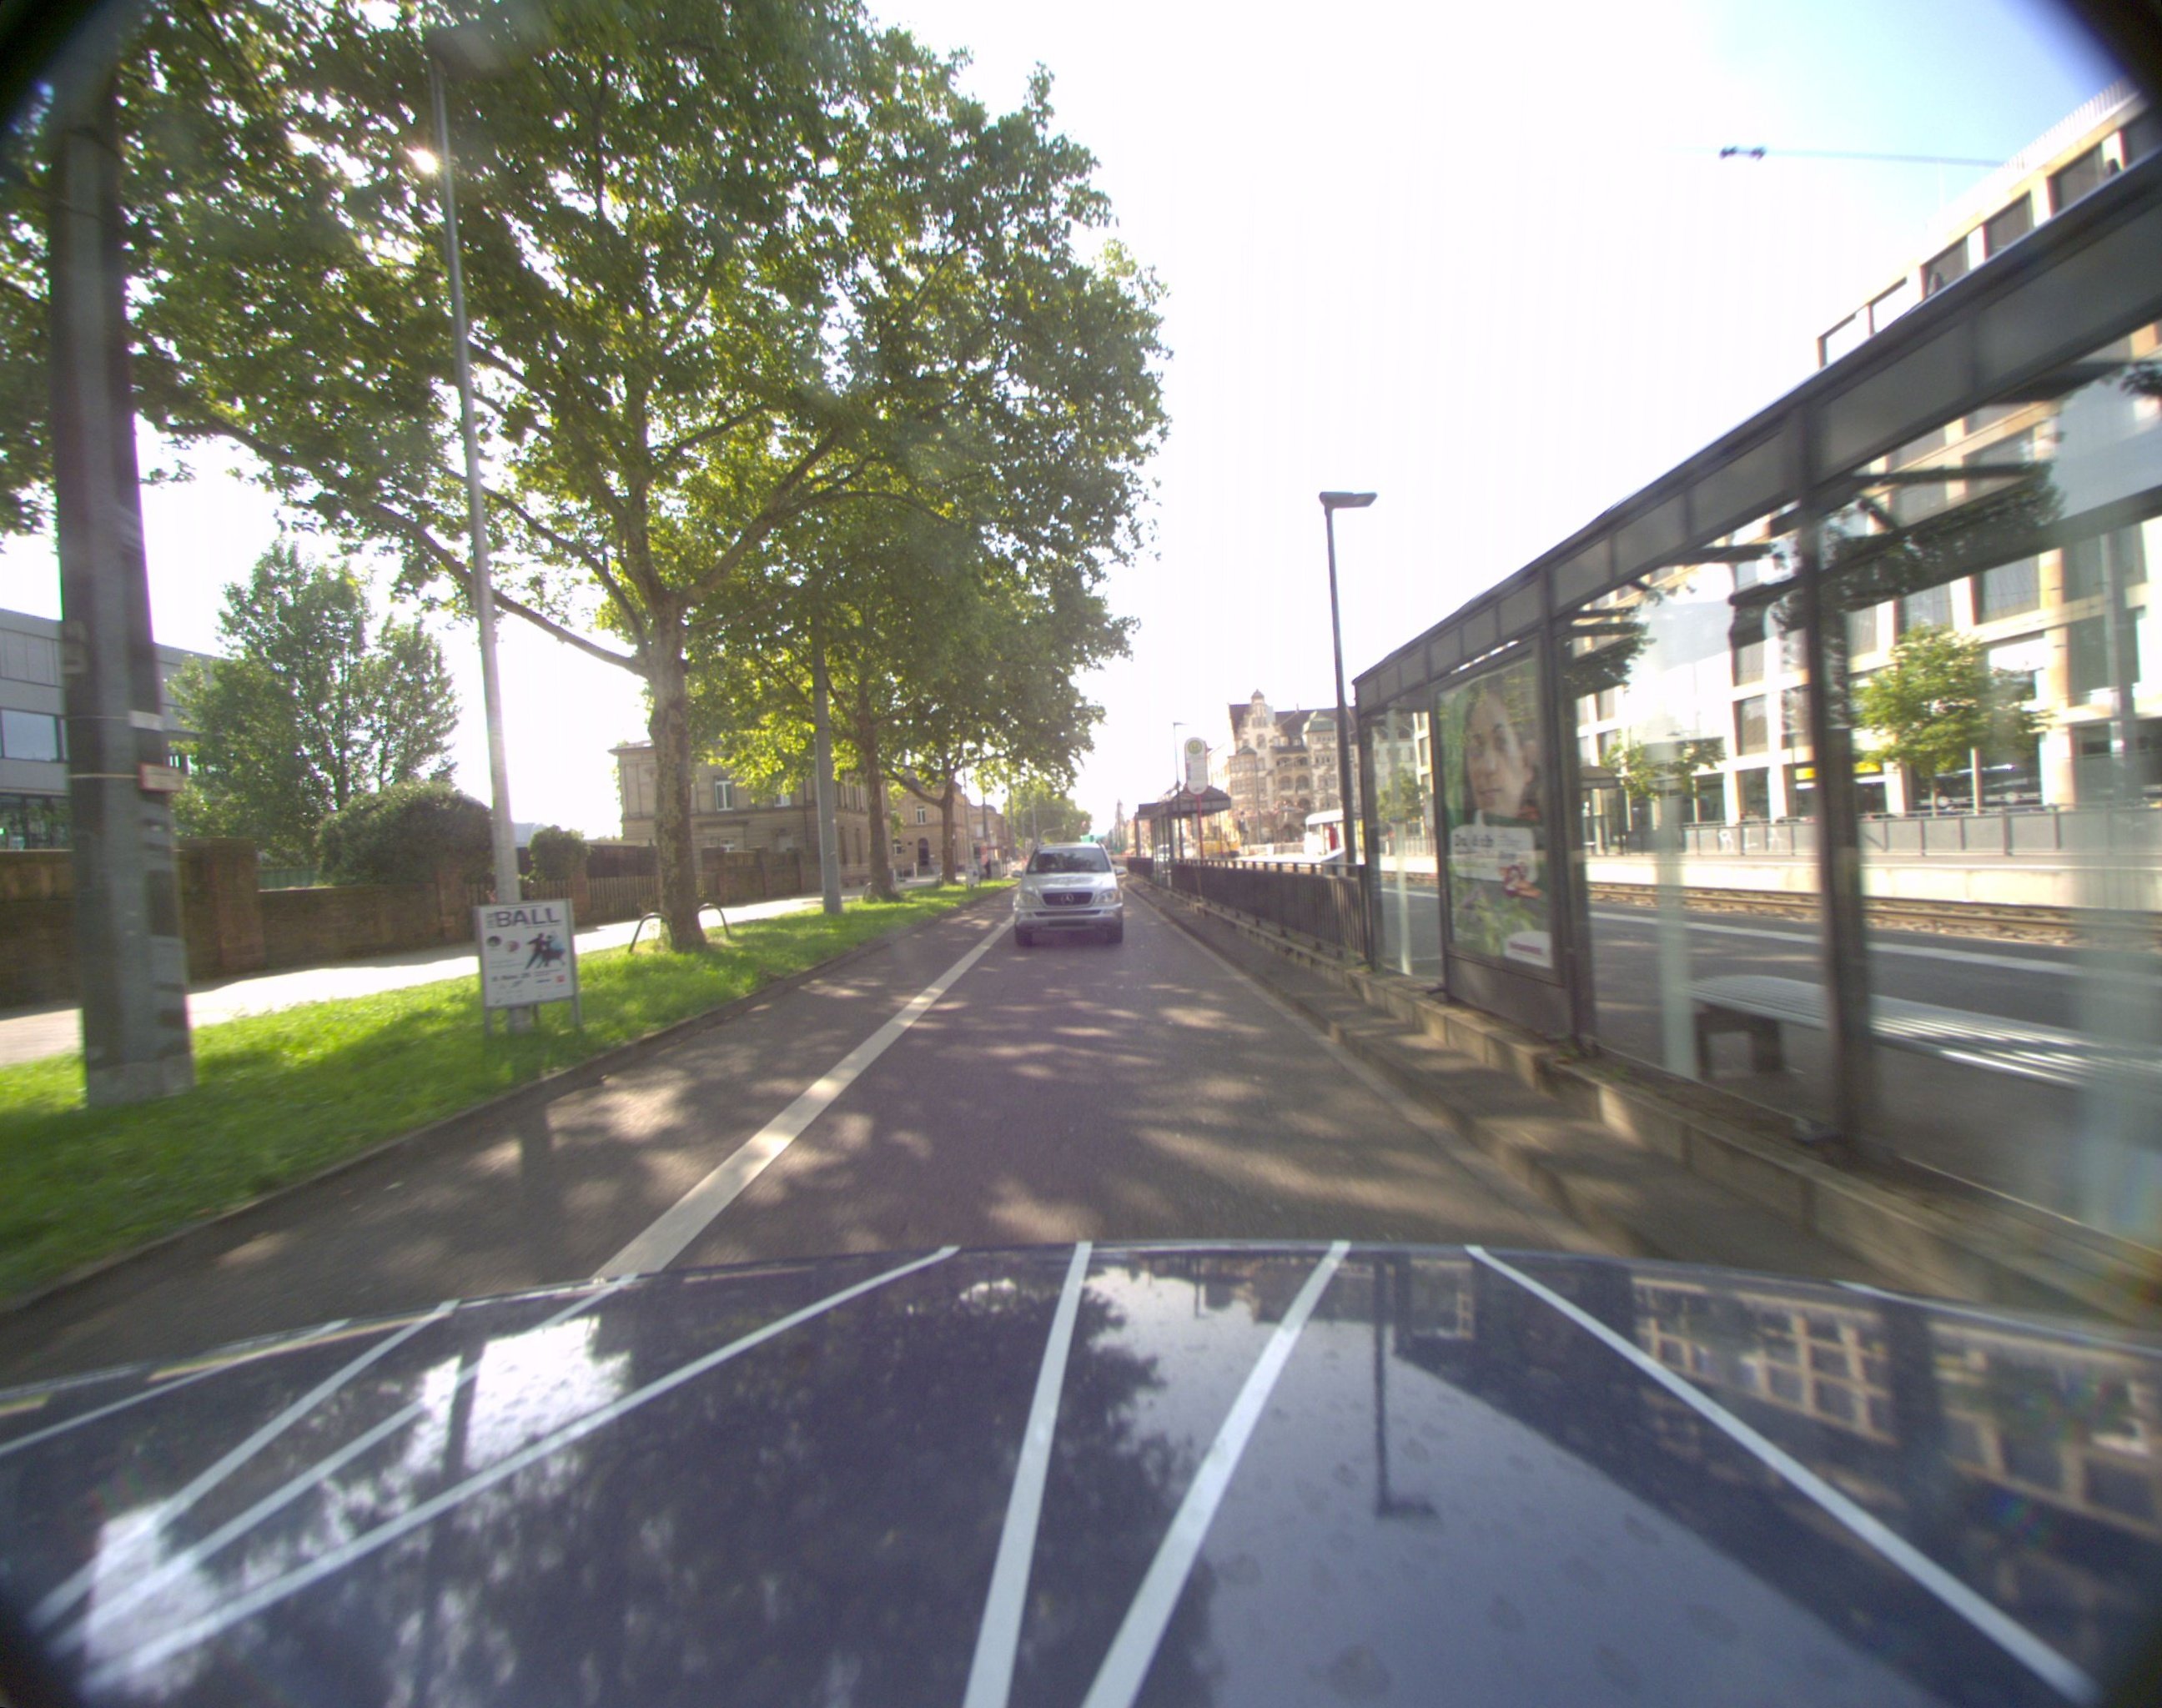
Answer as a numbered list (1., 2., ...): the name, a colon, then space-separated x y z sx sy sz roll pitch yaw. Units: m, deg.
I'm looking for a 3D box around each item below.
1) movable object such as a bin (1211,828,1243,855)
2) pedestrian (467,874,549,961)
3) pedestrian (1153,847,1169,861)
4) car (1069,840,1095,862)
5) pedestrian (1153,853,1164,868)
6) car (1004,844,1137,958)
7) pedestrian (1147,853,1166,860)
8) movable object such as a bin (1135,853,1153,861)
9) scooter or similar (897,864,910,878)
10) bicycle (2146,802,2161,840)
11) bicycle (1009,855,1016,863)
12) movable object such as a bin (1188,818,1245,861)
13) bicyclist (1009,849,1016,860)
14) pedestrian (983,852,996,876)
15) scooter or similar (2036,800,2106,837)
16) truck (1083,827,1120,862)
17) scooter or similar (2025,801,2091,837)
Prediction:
1. movable object such as a bin: 19.752 -1.622 103.007 2.853 3.310 8.346 -3 1 2
2. pedestrian: -11.912 1.299 15.830 0.821 1.676 1.012 -3 1 1
3. pedestrian: 7.899 -0.026 74.891 1.313 1.299 0.800 -3 0 24
4. car: 0.050 -0.397 99.091 2.232 2.713 5.165 -4 1 -11
5. pedestrian: 7.457 0.616 73.091 1.017 1.299 0.983 -4 0 4
6. car: -0.177 0.733 14.599 1.999 1.686 5.224 -3 0 0
7. pedestrian: 7.785 0.235 78.414 1.906 0.632 0.912 -4 0 4
8. movable object such as a bin: 6.080 0.319 73.387 1.507 0.649 0.702 -4 0 21
9. scooter or similar: -16.024 1.556 68.430 0.422 1.202 1.257 -3 -1 23
10. bicycle: 29.839 -0.943 20.006 2.439 0.980 0.821 -3 1 -1
11. bicycle: -9.497 0.634 105.578 0.719 1.036 1.902 -4 0 -2
12. movable object such as a bin: 14.258 -1.543 79.310 3.507 3.989 9.055 -3 0 24
13. bicyclist: -9.526 0.064 105.574 0.719 1.534 0.955 -4 0 -2
14. pedestrian: -6.697 0.723 55.465 0.690 1.687 0.647 -4 1 -21
15. scooter or similar: 28.973 -1.025 22.243 1.526 0.980 0.395 -3 1 -1
16. truck: 2.284 -1.020 87.846 2.682 3.657 8.208 -4 0 -9
17. scooter or similar: 29.255 -1.043 22.753 1.505 0.980 0.372 -3 1 -1
